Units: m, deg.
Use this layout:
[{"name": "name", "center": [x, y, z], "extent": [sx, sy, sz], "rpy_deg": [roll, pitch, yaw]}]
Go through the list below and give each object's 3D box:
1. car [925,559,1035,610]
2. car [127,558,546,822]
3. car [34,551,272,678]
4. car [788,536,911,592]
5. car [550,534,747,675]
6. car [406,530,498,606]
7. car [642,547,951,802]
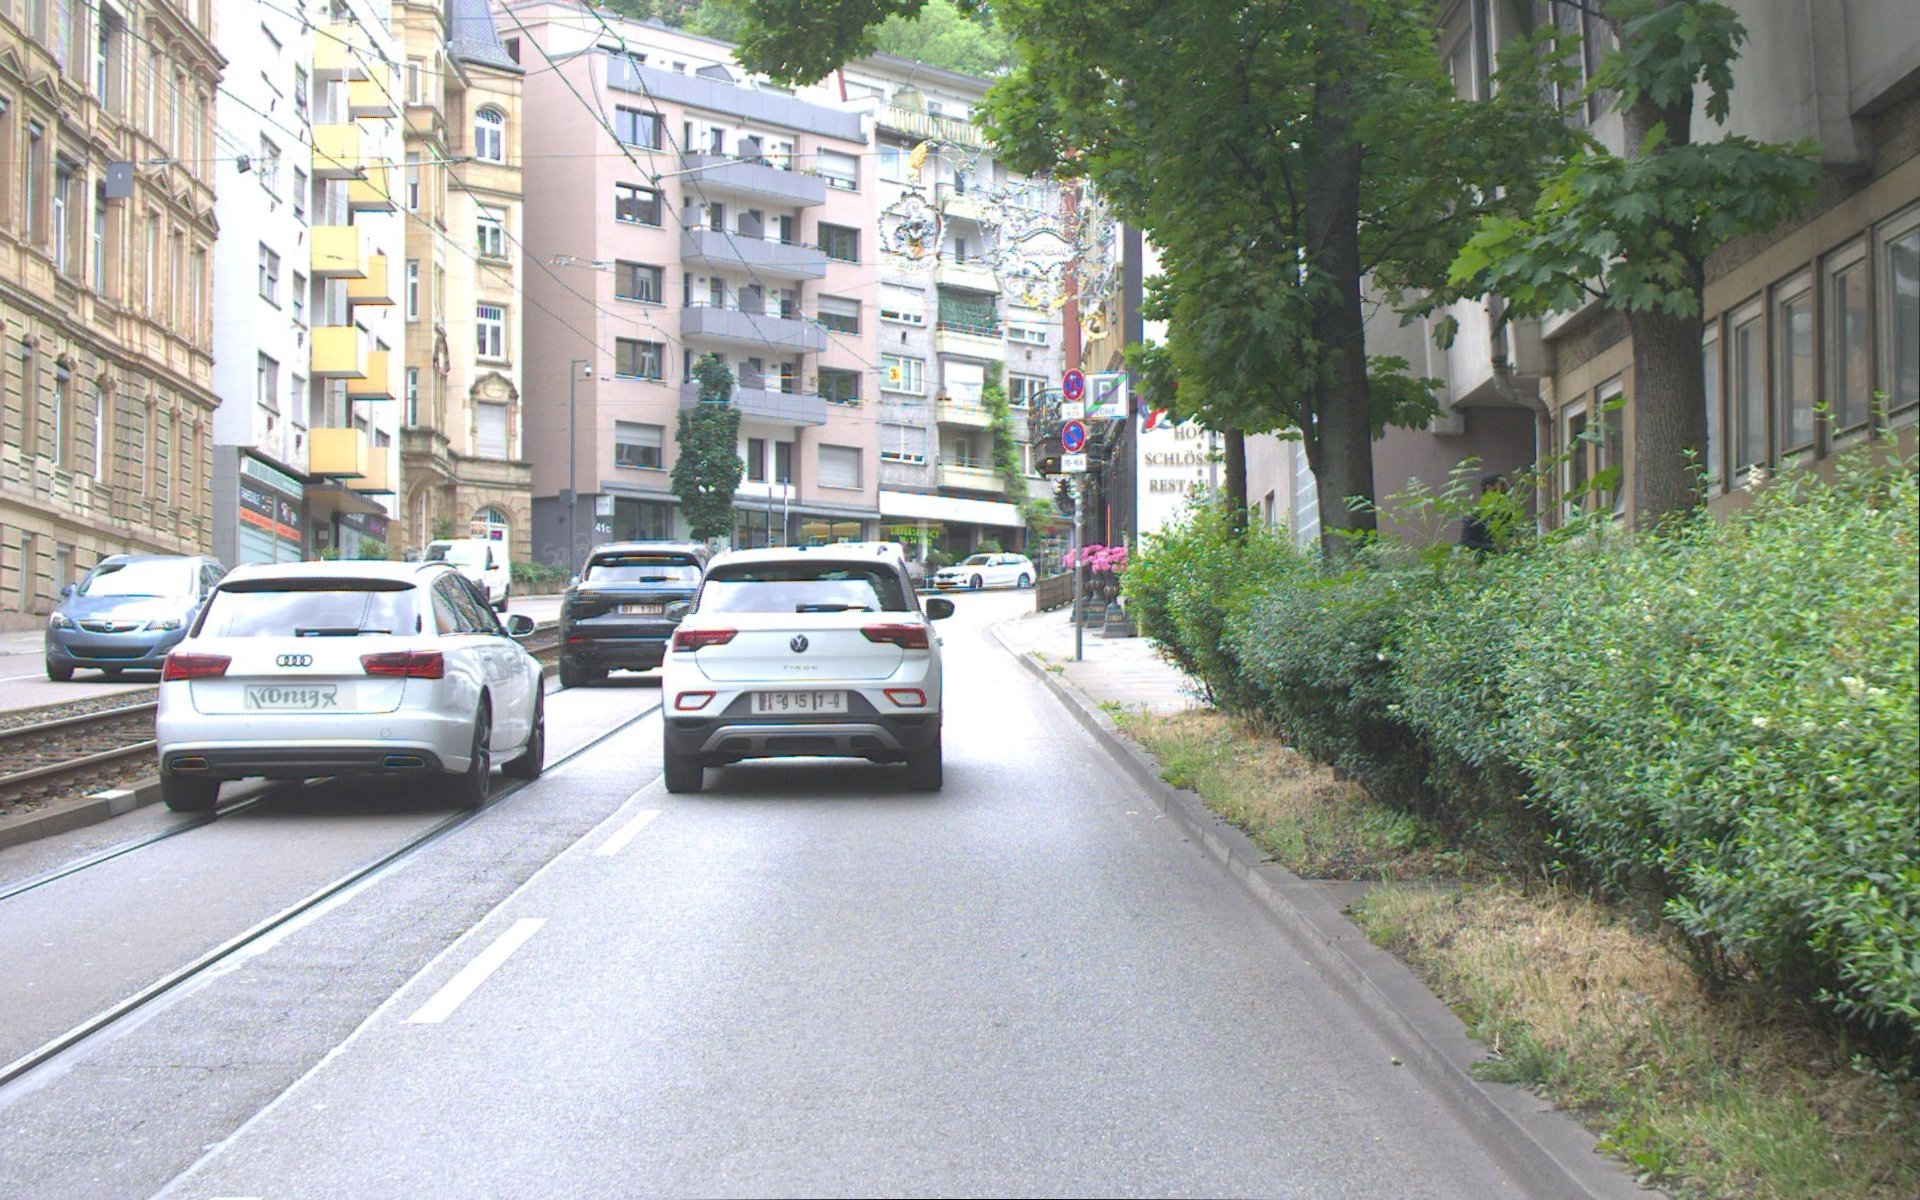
[{"name": "car", "center": [0.788, -0.602, 132.913], "extent": [1.908, 1.916, 4.425], "rpy_deg": [1, 1, 38]}, {"name": "car", "center": [-3.717, 0.477, 21.295], "extent": [1.879, 1.450, 4.618], "rpy_deg": [0, 0, -2]}, {"name": "car", "center": [-9.735, 0.134, 41.816], "extent": [1.843, 1.450, 4.661], "rpy_deg": [0, 1, -1]}, {"name": "car", "center": [-4.075, -1.339, 127.485], "extent": [1.998, 2.028, 4.691], "rpy_deg": [1, 1, 38]}, {"name": "car", "center": [-3.625, 0.012, 40.668], "extent": [2.038, 1.566, 4.358], "rpy_deg": [0, 1, -1]}, {"name": "car", "center": [-13.121, -0.845, 89.090], "extent": [1.957, 1.894, 5.319], "rpy_deg": [0, 1, -4]}, {"name": "car", "center": [-1.011, 0.422, 22.979], "extent": [1.879, 1.549, 4.000], "rpy_deg": [0, 1, 0]}]
